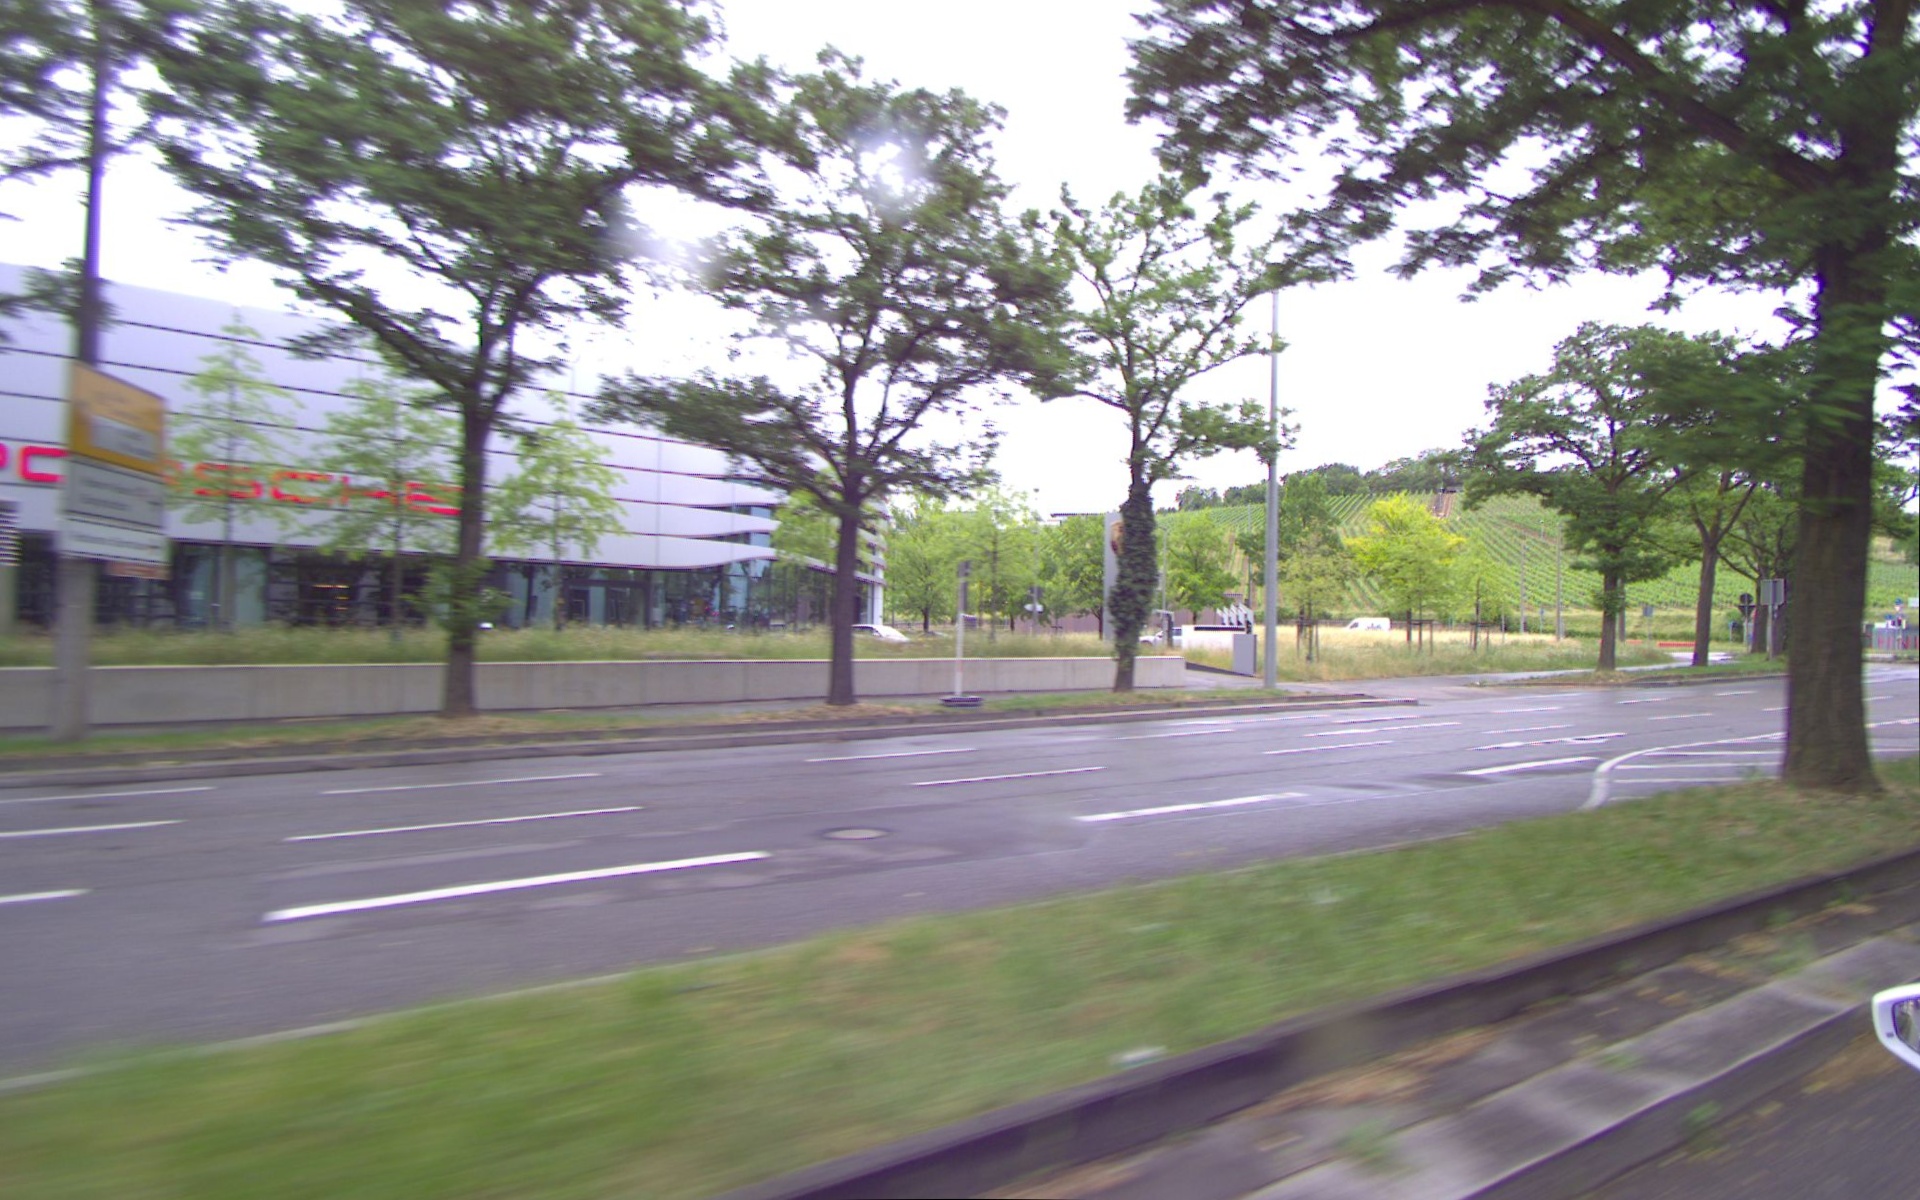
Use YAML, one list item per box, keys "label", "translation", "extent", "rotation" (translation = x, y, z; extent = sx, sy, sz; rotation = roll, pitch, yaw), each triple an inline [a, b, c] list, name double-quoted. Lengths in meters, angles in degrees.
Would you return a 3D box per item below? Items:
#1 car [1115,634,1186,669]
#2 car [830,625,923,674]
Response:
- label: "car"
  translation: [11.168, 2.999, 58.785]
  extent: [3.919, 2.040, 2.001]
  rotation: [-1, -2, 14]
- label: "car"
  translation: [-3.673, 2.148, 44.006]
  extent: [3.946, 2.040, 1.988]
  rotation: [-2, -3, 44]
